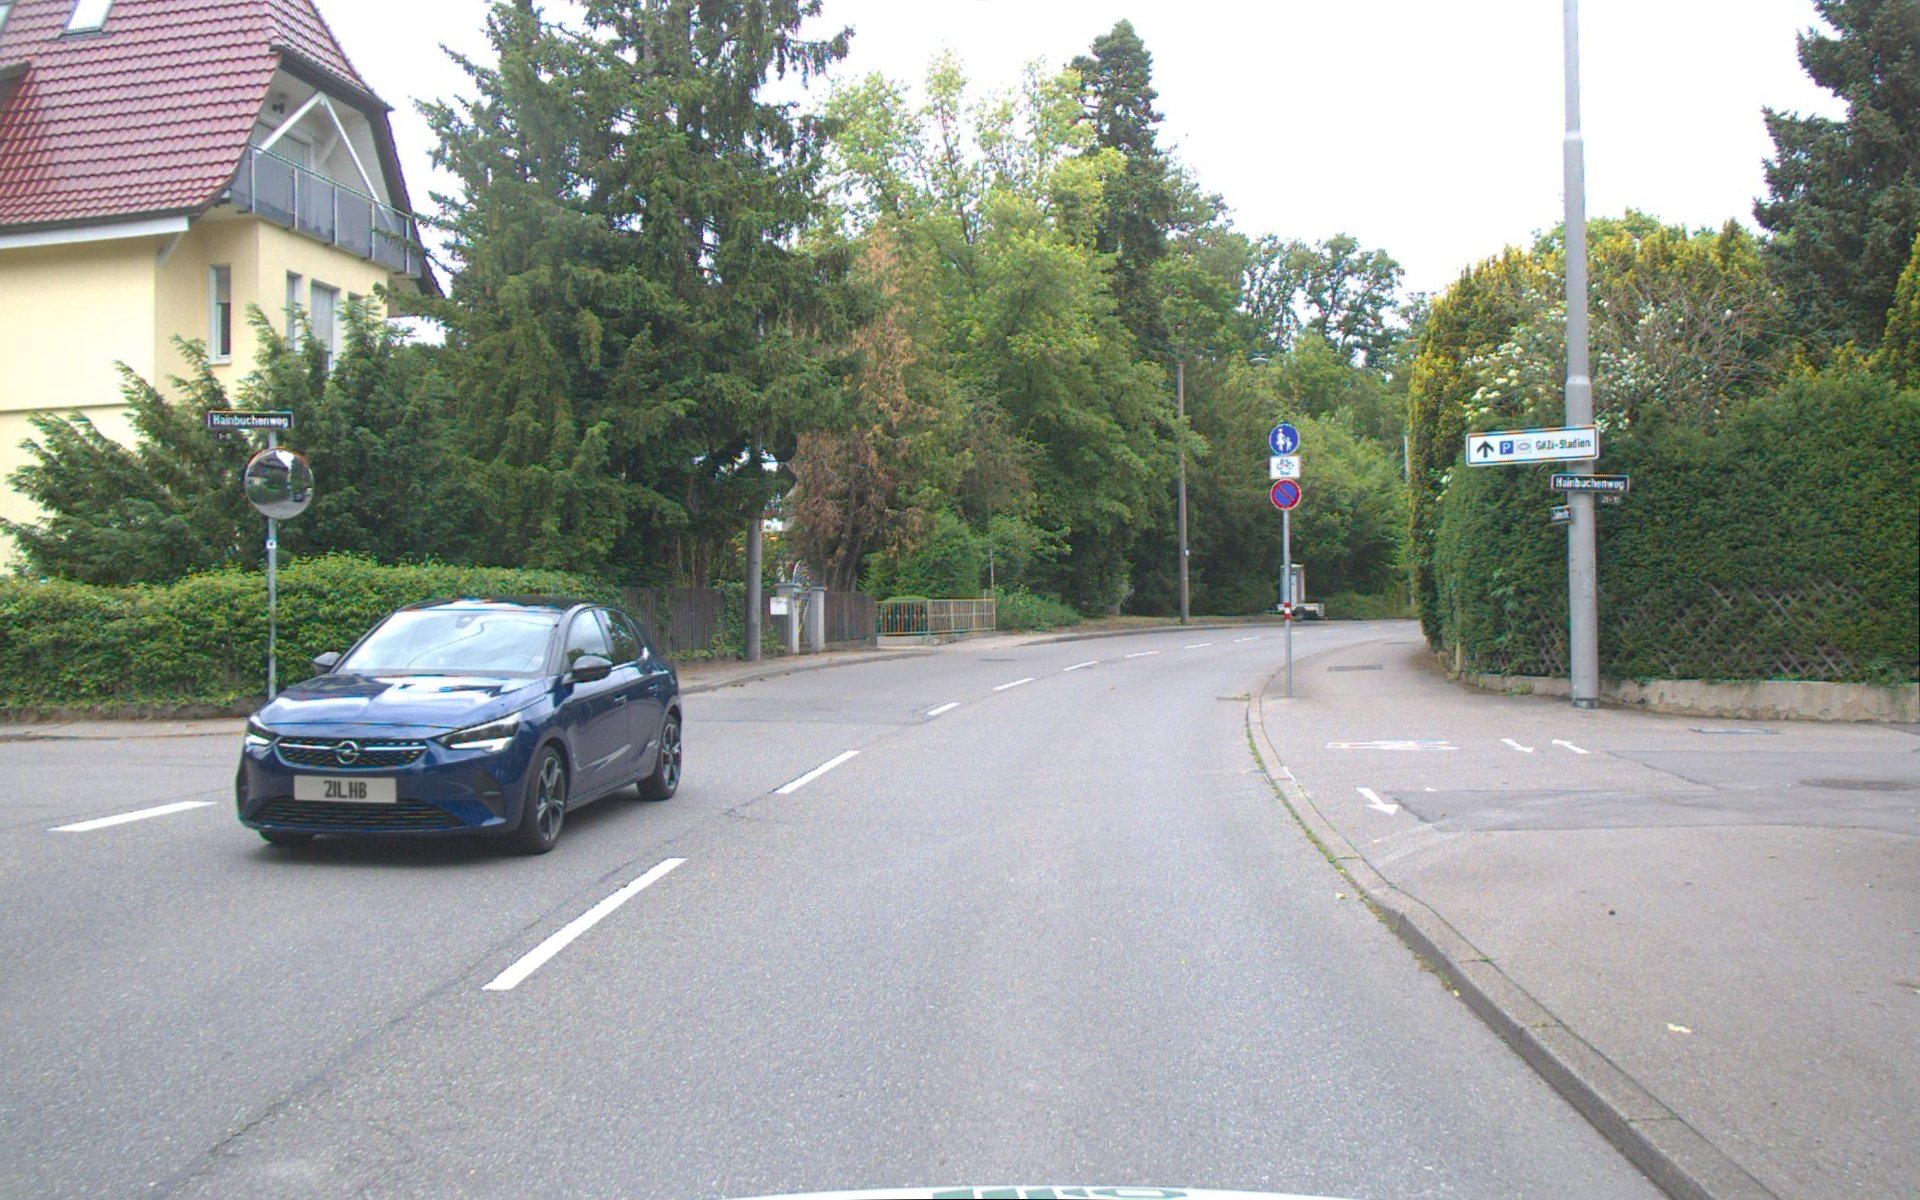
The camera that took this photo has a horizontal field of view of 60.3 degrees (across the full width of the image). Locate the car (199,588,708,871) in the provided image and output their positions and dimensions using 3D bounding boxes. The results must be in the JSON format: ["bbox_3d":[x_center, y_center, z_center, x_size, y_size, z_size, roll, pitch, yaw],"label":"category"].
[{"bbox_3d":[-2.987,0.663,10.735,1.720,1.464,4.096,0,0,5],"label":"car"}]

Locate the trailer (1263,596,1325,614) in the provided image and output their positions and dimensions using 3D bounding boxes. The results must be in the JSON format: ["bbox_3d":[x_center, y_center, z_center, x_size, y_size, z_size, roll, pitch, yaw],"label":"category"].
[{"bbox_3d":[16.779,0.242,82.980,2.893,0.843,1.476,-1,-1,19],"label":"trailer"}]
